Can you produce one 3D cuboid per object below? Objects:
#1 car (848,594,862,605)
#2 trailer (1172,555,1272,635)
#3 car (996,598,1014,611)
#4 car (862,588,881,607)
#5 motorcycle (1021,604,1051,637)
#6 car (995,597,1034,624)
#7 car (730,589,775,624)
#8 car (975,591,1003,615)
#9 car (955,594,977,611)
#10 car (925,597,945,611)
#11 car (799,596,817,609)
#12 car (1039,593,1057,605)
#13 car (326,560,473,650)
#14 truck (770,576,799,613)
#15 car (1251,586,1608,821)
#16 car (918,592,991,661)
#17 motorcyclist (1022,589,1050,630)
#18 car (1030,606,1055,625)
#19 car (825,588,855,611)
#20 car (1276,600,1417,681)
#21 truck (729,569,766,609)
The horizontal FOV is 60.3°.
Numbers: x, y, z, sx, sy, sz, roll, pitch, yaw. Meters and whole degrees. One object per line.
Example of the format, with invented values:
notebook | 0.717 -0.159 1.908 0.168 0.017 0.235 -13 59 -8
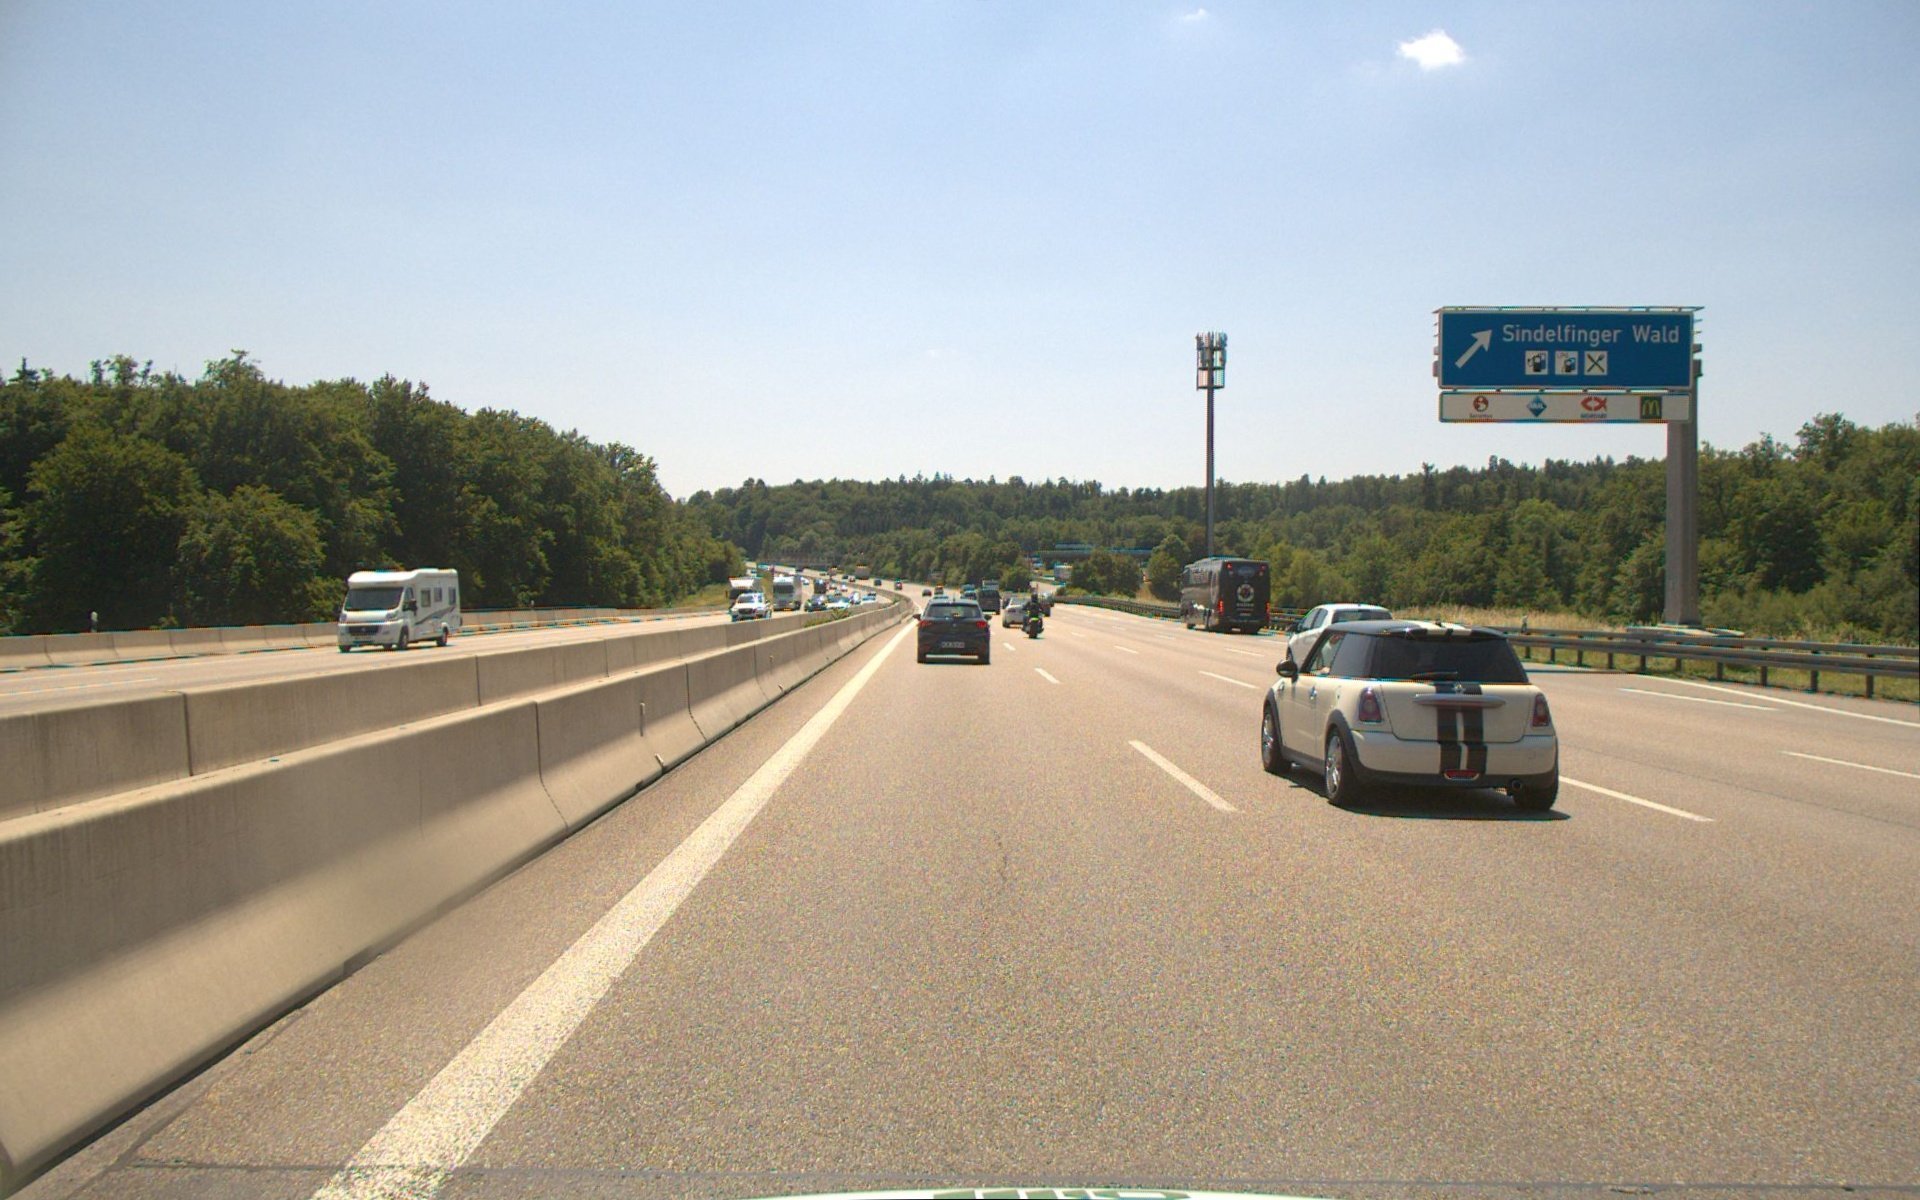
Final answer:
car | -15.590 -0.071 246.006 1.761 1.671 5.078 0 0 -1
trailer | 13.236 -0.209 84.833 2.799 3.752 13.539 -1 0 -1
car | 4.468 0.428 163.532 1.576 1.233 3.458 -1 0 -2
car | -9.474 -0.272 177.175 1.737 1.912 5.211 1 1 1
motorcycle | 2.783 0.743 60.823 0.957 1.149 2.270 1 0 -1
car | 2.626 0.507 80.475 1.746 1.287 3.459 0 0 -1
car | -11.686 0.345 93.454 1.953 1.819 5.317 -2 0 -1
car | 2.283 0.194 131.658 2.055 1.884 4.079 0 0 -2
car | 0.625 0.253 179.870 1.955 1.713 4.419 1 1 -5
car | -2.150 0.335 142.804 1.506 1.233 3.456 -1 0 -5
car | -17.192 0.267 187.348 1.761 1.400 4.530 0 0 -1
car | 9.269 -0.071 174.869 1.576 1.233 3.458 -1 0 -2
car | -18.610 0.142 55.444 2.176 2.705 8.174 -2 0 -1
truck | -21.057 -0.657 198.439 2.660 4.171 7.875 -2 0 -1
car | 3.697 0.722 13.790 1.803 1.579 4.000 1 1 0
car | -0.137 0.621 38.660 1.591 1.513 3.684 1 -1 -1
motorcyclist | 2.785 0.335 60.669 0.942 1.462 1.235 -1 1 -1
car | 6.339 1.193 127.331 1.641 1.457 3.684 0 0 -1
car | -8.470 -0.024 117.122 1.811 1.550 5.317 -2 0 -1
car | 7.462 0.741 32.331 1.632 1.458 4.374 0 0 -2
truck | -20.192 -1.033 157.300 2.488 3.633 8.574 -2 0 -2
